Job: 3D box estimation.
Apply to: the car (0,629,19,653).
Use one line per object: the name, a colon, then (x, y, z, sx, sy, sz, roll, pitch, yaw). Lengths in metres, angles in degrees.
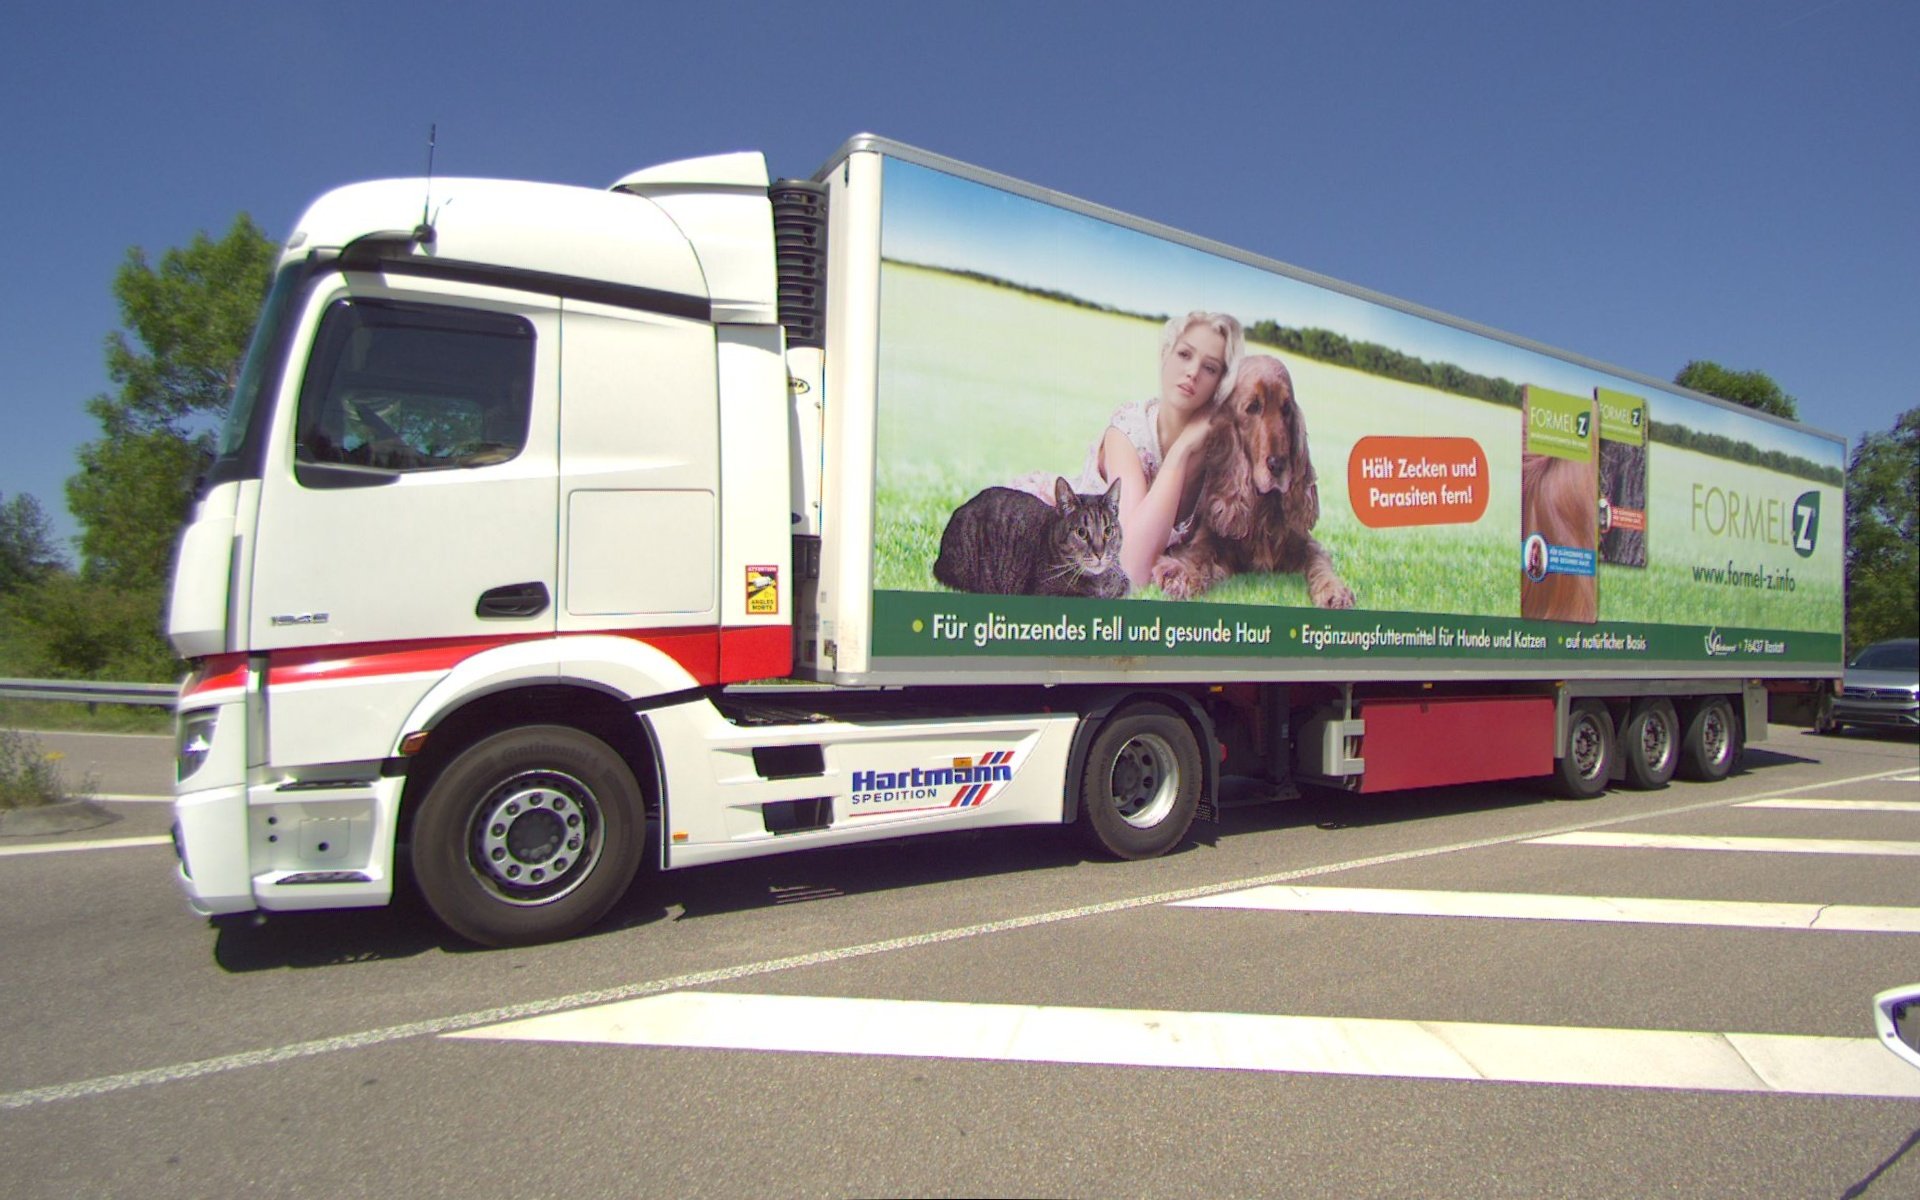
car: (-64.950, 2.769, 67.872, 1.573, 1.627, 3.435, 2, -3, -37)

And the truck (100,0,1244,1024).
truck: (-1.266, -0.448, 6.278, 5.761, 4.098, 2.675, 2, -1, -32)

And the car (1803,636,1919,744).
car: (15.687, 1.404, 16.420, 4.107, 1.582, 1.703, 2, -2, -31)

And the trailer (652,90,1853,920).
trailer: (4.422, -0.266, 9.820, 13.968, 4.098, 2.675, 2, -1, -32)
